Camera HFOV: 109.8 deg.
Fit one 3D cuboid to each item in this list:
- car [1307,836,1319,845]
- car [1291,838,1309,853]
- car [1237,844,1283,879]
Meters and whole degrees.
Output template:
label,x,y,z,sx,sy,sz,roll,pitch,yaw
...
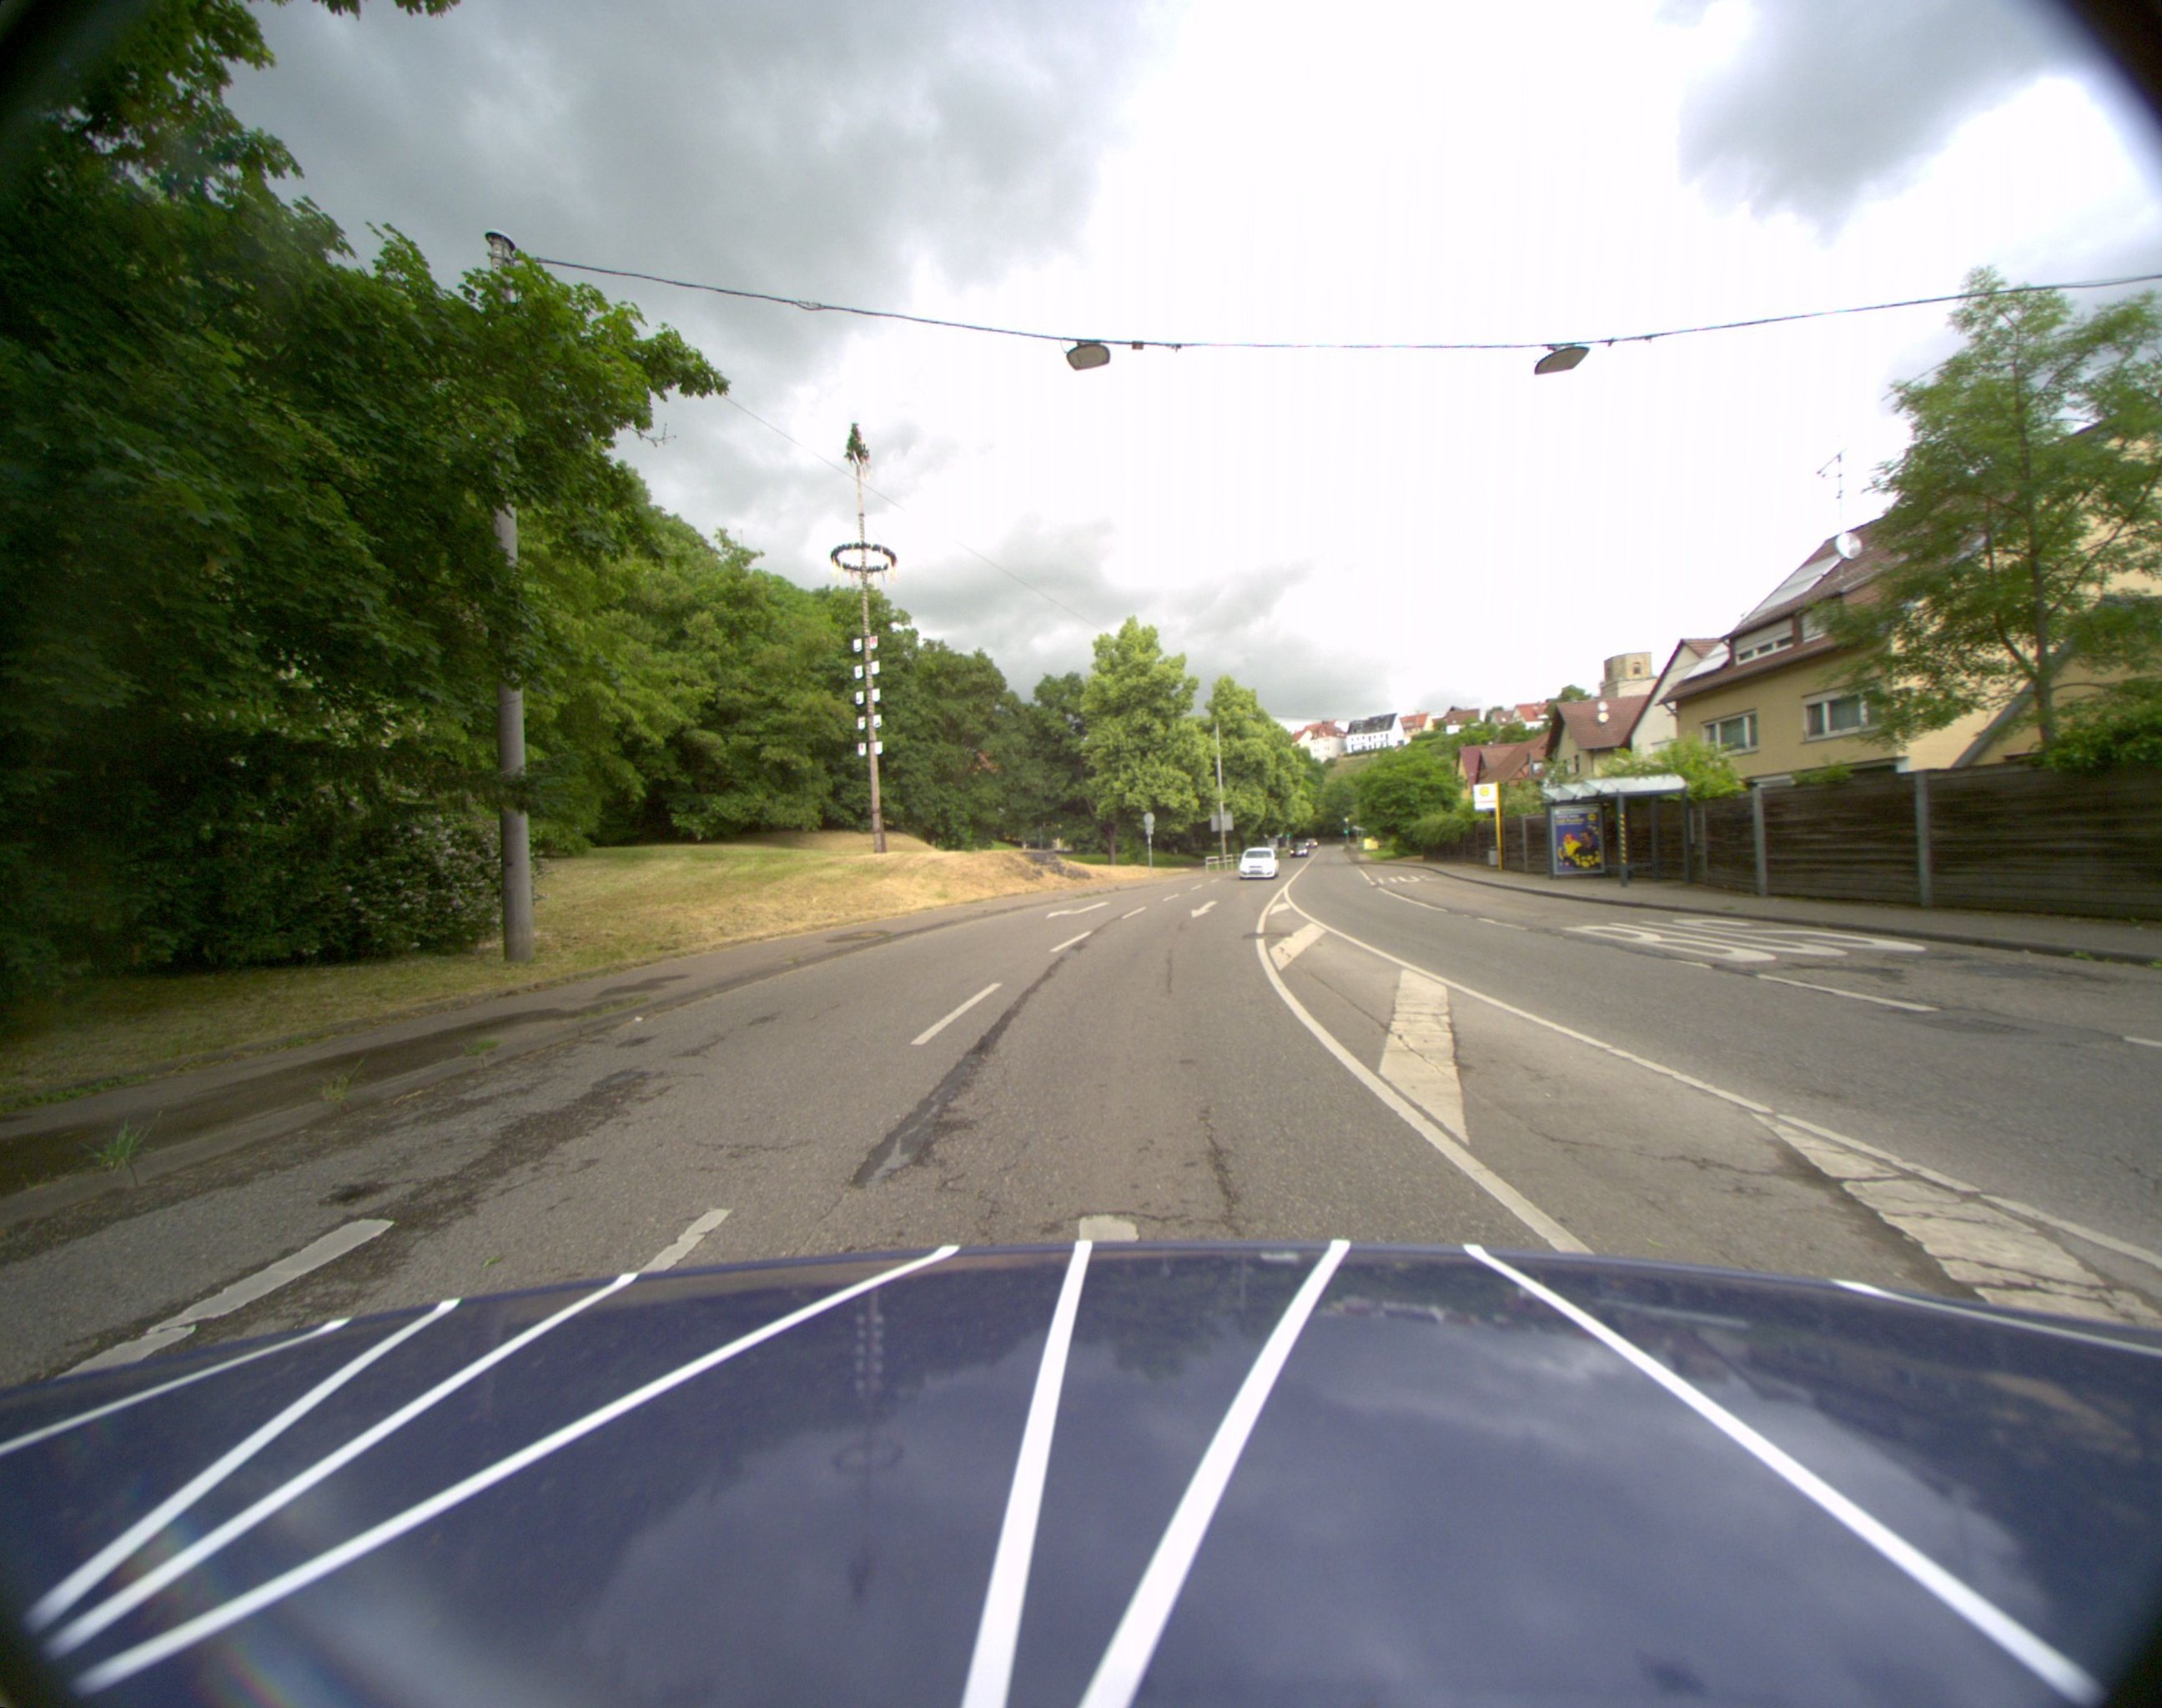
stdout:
label,x,y,z,sx,sy,sz,roll,pitch,yaw
car,40.780,-2.410,133.380,1.761,1.575,3.688,-2,1,20
car,23.370,-0.927,81.116,1.761,1.575,3.687,-2,1,17
car,8.706,0.337,36.757,1.761,1.516,3.688,-2,1,20
